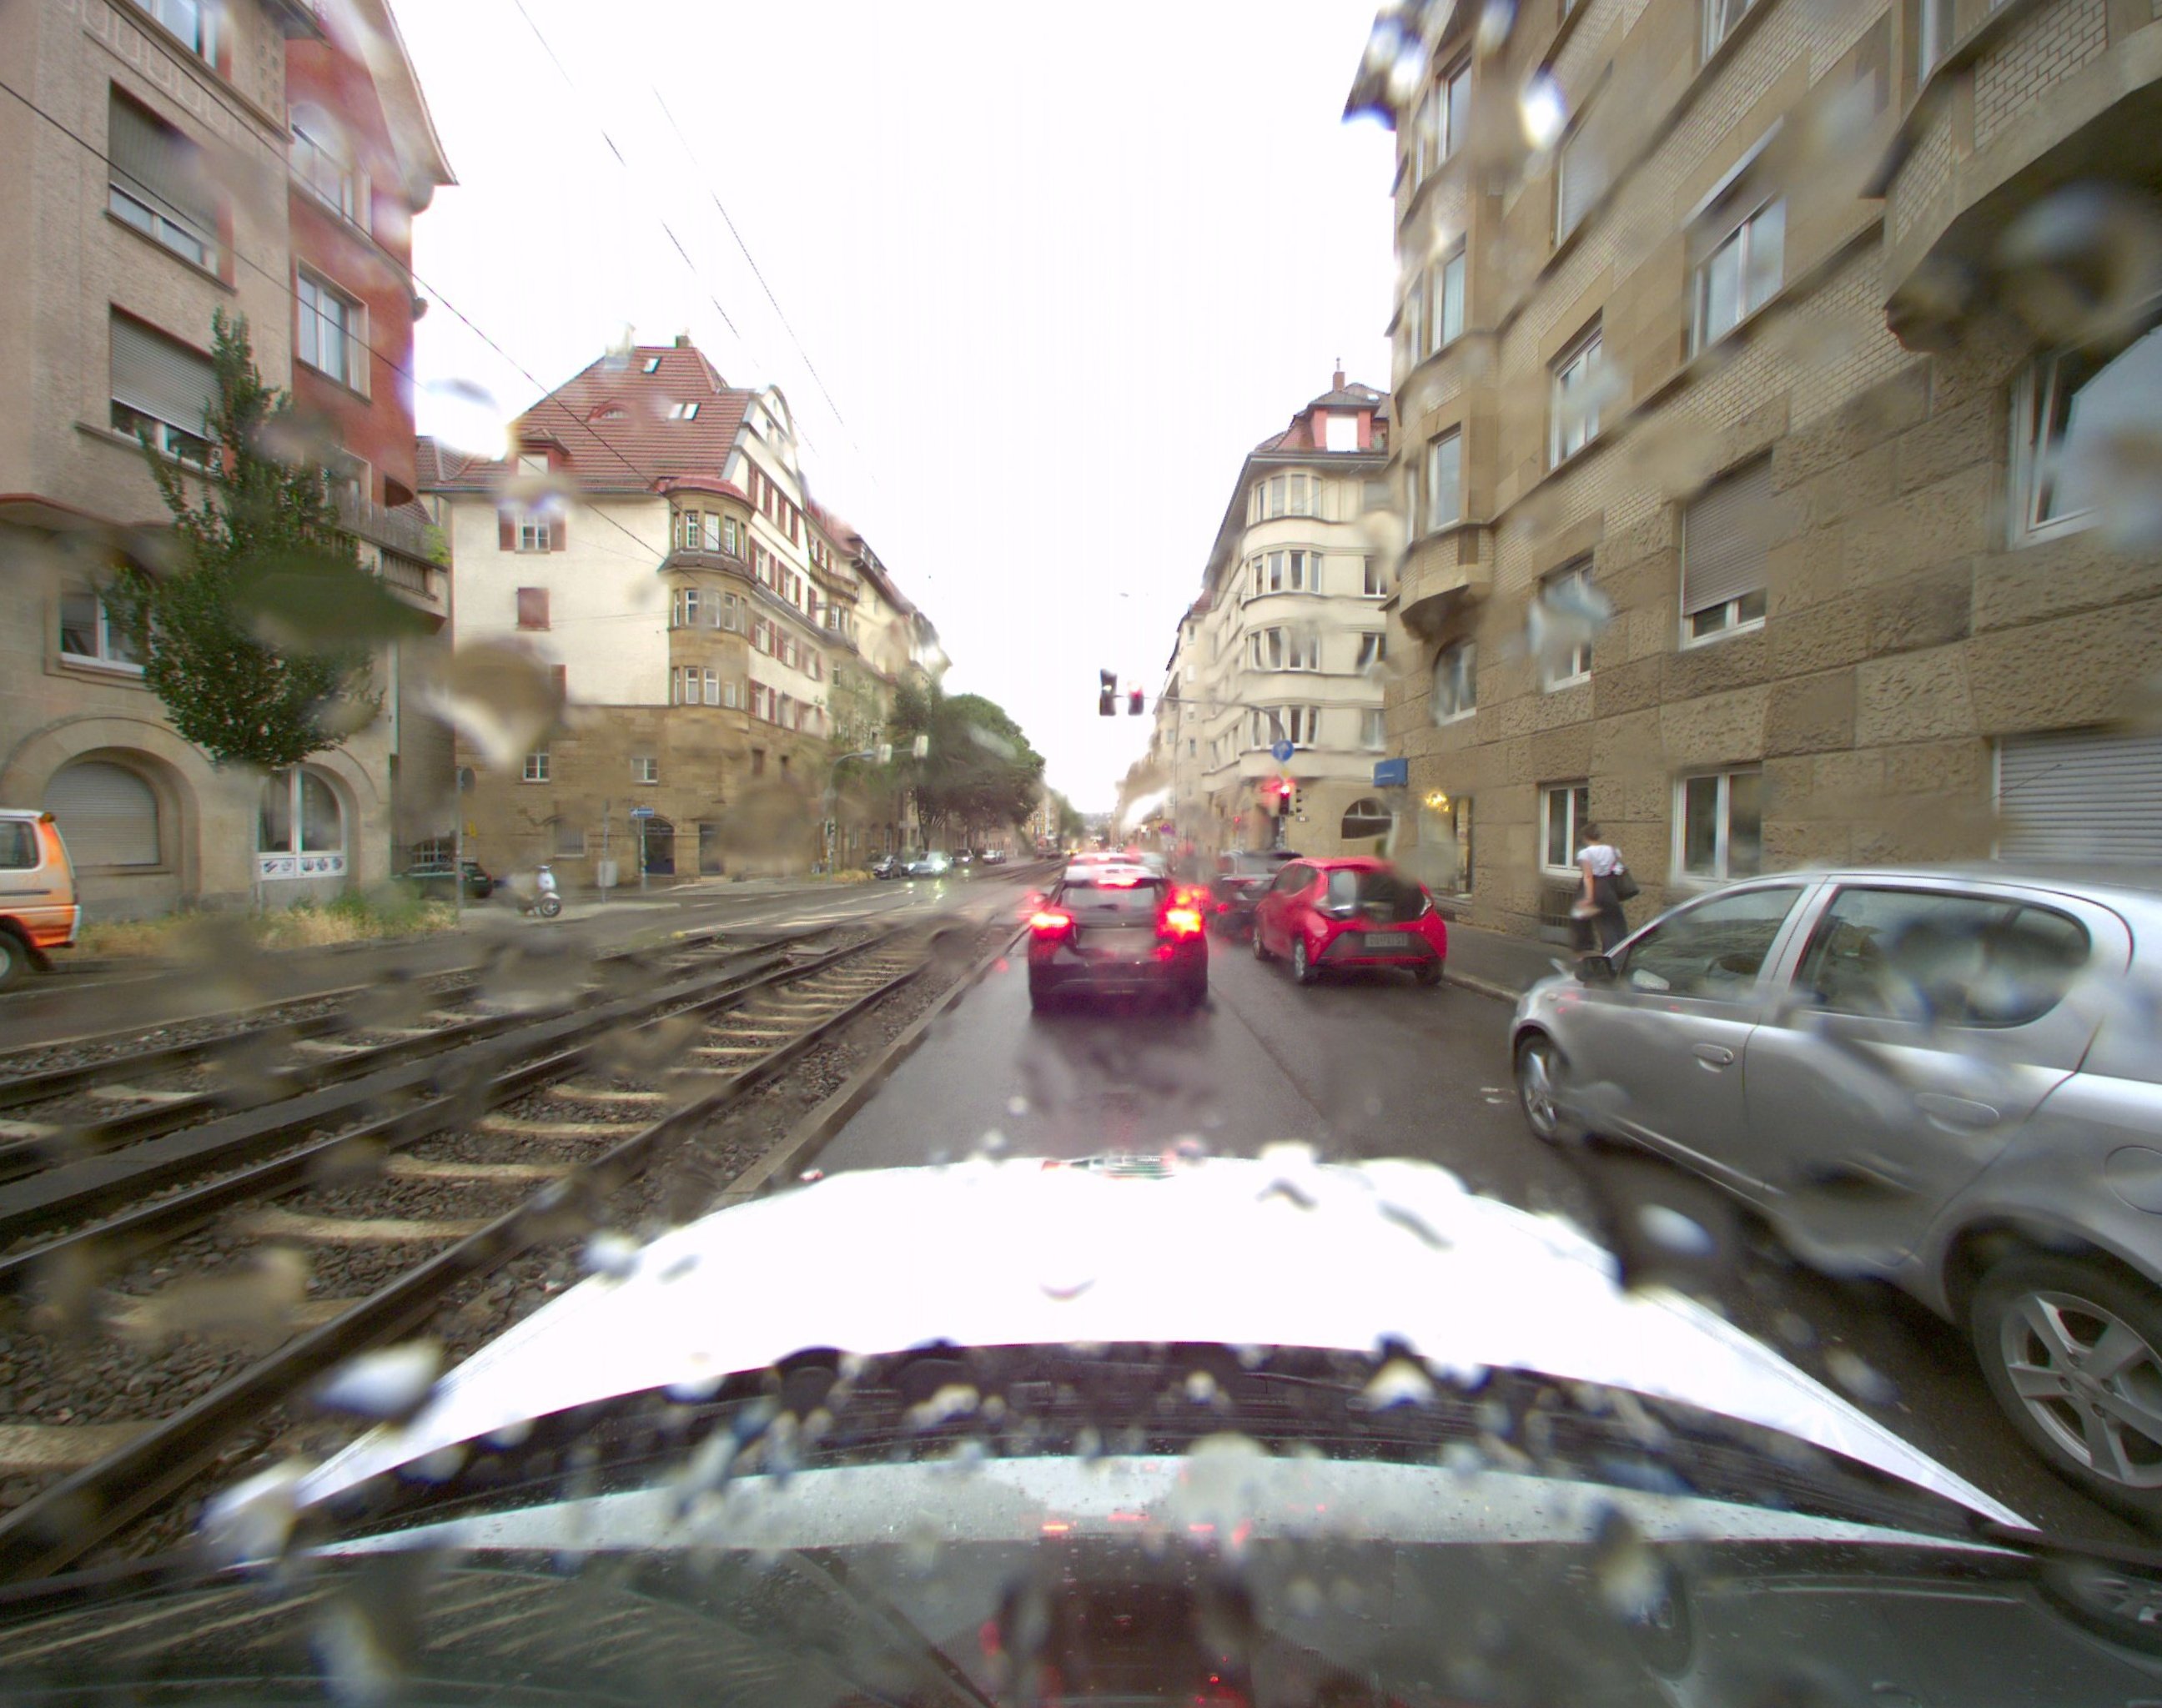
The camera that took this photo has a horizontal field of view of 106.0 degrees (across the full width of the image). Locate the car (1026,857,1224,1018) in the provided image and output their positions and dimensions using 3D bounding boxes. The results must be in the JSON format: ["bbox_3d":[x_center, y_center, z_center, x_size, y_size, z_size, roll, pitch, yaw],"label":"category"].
[{"bbox_3d":[0.470,0.781,9.553,1.822,1.458,4.105,0,0,2],"label":"car"}]

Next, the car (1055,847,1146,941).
[{"bbox_3d":[0.397,0.699,15.948,1.559,1.609,3.815,0,-1,2],"label":"car"}]

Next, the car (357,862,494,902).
[{"bbox_3d":[-24.379,1.010,30.399,3.633,1.404,1.699,0,-1,-3],"label":"car"}]

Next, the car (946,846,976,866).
[{"bbox_3d":[-10.590,0.209,72.129,1.868,1.737,3.920,0,-1,2],"label":"car"}]

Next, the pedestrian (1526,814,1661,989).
[{"bbox_3d":[5.426,0.480,8.699,0.739,1.748,1.111,0,-1,2],"label":"pedestrian"}]

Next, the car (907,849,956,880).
[{"bbox_3d":[-8.265,0.578,45.421,1.891,1.588,3.974,0,-1,2],"label":"car"}]

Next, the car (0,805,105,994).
[{"bbox_3d":[-12.119,0.470,7.200,1.725,1.975,4.341,0,-1,0],"label":"car"}]

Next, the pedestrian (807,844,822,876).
[{"bbox_3d":[-14.101,0.311,43.151,0.630,1.672,0.701,0,-1,-6],"label":"pedestrian"}]

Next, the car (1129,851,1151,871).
[{"bbox_3d":[4.421,0.523,61.572,1.539,1.486,3.549,0,0,2],"label":"car"}]

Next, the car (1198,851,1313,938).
[{"bbox_3d":[3.247,0.688,15.799,1.539,1.486,3.831,0,0,2],"label":"car"}]

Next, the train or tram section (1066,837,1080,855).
[{"bbox_3d":[-1.779,-1.714,184.498,2.772,3.861,10.433,0,-1,2],"label":"train or tram section"}]

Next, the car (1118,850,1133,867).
[{"bbox_3d":[4.032,0.397,73.663,1.289,1.442,2.930,0,0,2],"label":"car"}]

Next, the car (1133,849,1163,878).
[{"bbox_3d":[3.848,0.522,47.165,1.539,1.590,3.549,0,0,2],"label":"car"}]

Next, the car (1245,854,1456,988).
[{"bbox_3d":[3.281,0.734,10.554,1.637,1.448,3.298,0,0,-1],"label":"car"}]

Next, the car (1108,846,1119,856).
[{"bbox_3d":[6.477,-0.565,162.475,1.986,1.876,4.001,0,-1,2],"label":"car"}]

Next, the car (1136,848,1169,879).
[{"bbox_3d":[3.706,0.478,42.690,1.539,1.590,3.549,0,0,2],"label":"car"}]

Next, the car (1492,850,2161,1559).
[{"bbox_3d":[3.150,0.742,3.089,1.608,1.467,3.314,-2,0,3],"label":"car"}]

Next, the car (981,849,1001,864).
[{"bbox_3d":[-9.859,0.300,89.587,1.583,1.581,3.920,0,-1,2],"label":"car"}]

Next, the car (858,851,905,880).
[{"bbox_3d":[-11.250,0.637,46.107,1.747,1.552,4.033,0,-1,-2],"label":"car"}]

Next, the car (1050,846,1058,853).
[{"bbox_3d":[-5.219,-0.870,156.008,1.372,1.249,3.297,0,-1,0],"label":"car"}]

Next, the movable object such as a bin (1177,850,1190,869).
[{"bbox_3d":[7.480,0.417,59.545,0.873,1.389,0.984,-1,-1,5],"label":"movable object such as a bin"}]

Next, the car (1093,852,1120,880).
[{"bbox_3d":[1.537,0.704,50.054,1.539,1.636,3.686,0,0,0],"label":"car"}]

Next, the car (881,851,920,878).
[{"bbox_3d":[-11.281,0.642,51.142,1.713,1.611,3.914,0,-1,-3],"label":"car"}]

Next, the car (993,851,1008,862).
[{"bbox_3d":[-9.789,0.286,99.003,1.443,1.331,3.271,0,-1,0],"label":"car"}]

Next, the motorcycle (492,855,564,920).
[{"bbox_3d":[-12.063,0.711,17.756,1.577,1.365,0.628,-1,-1,28],"label":"motorcycle"}]
